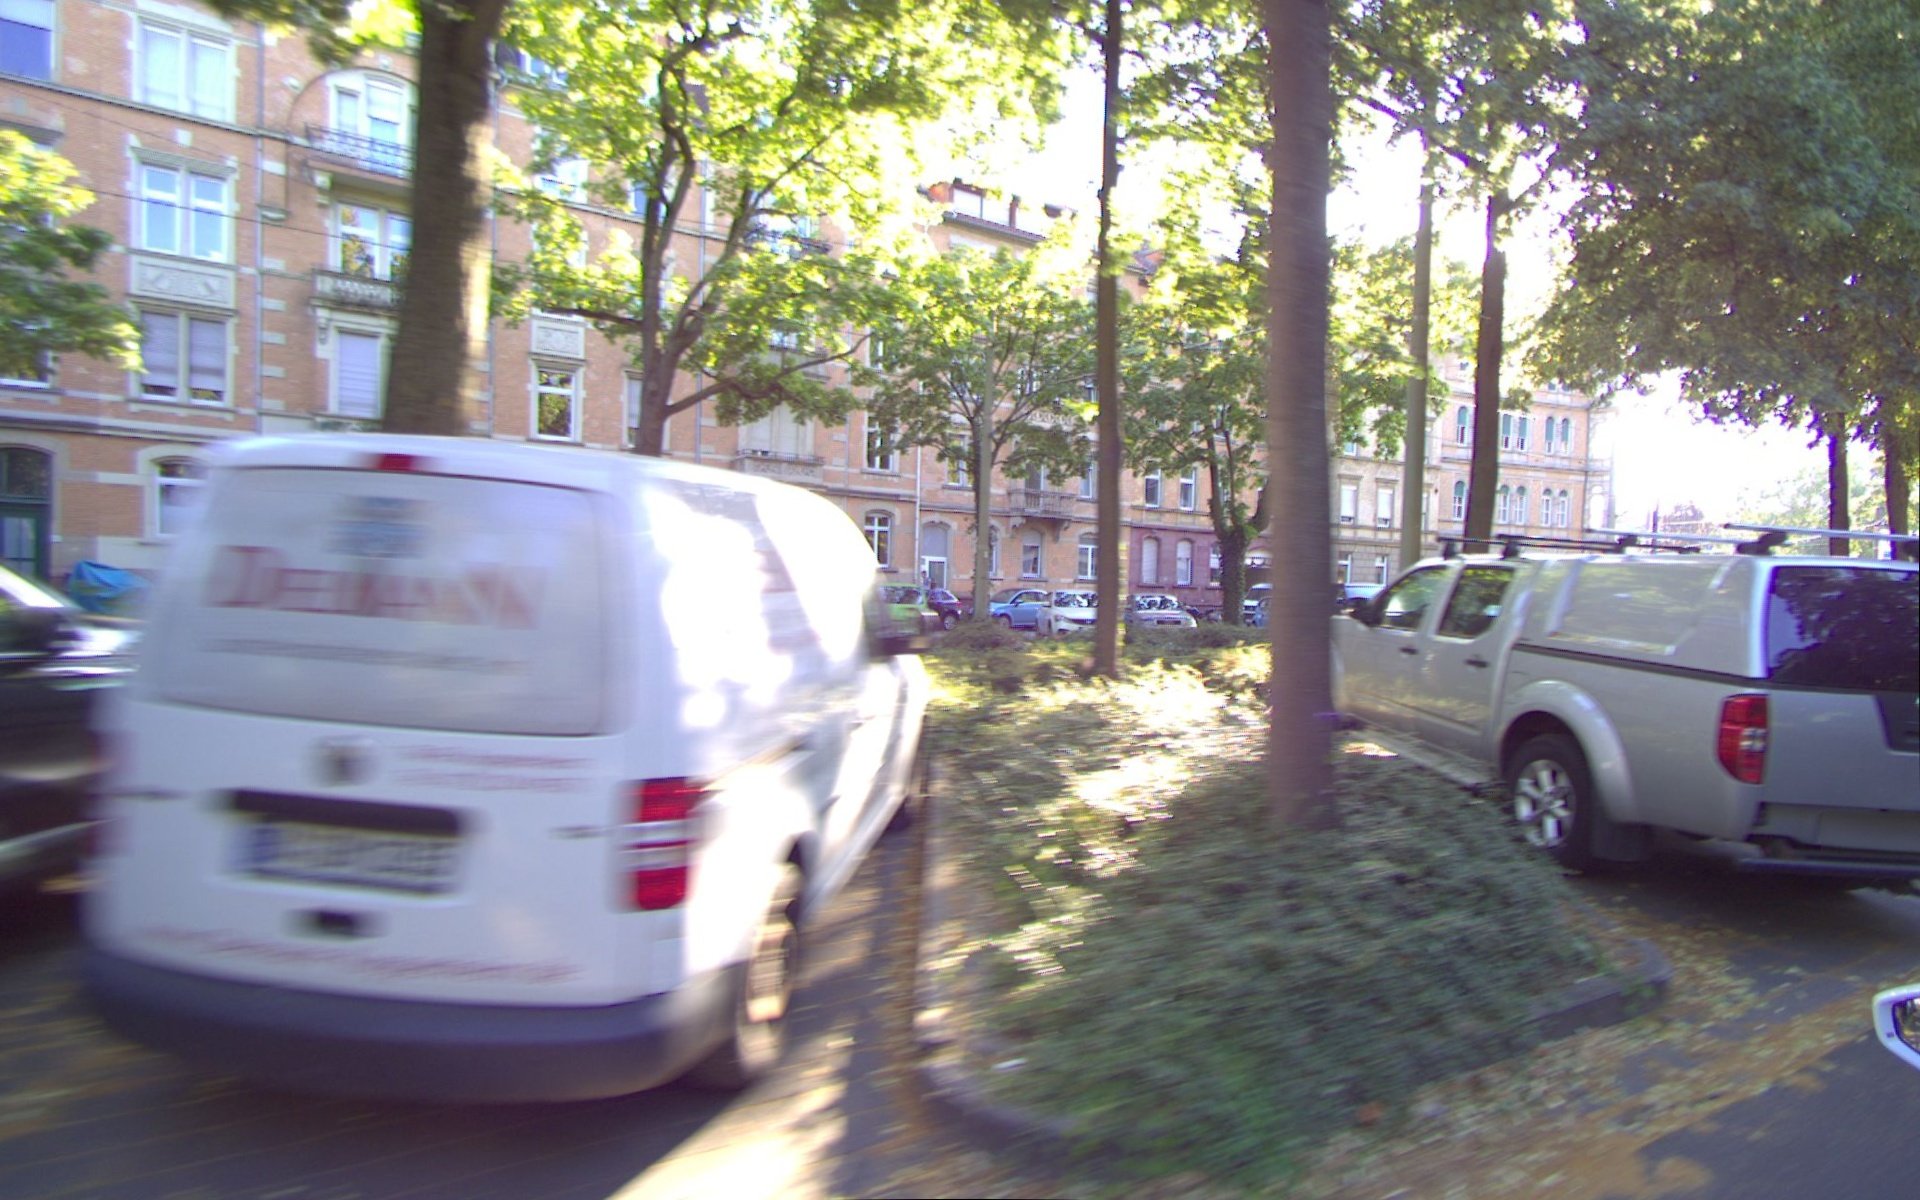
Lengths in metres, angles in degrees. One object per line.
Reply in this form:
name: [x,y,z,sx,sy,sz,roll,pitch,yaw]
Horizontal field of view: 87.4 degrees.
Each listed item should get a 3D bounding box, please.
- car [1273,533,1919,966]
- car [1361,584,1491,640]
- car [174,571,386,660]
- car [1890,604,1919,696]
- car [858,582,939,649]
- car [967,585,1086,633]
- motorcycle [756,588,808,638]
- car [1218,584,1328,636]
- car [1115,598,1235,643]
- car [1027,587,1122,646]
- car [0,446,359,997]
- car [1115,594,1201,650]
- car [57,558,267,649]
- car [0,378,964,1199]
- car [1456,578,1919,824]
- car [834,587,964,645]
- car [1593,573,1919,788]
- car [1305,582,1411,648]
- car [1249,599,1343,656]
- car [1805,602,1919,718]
car: [4.035,0.526,6.767,1.949,1.805,4.998,3,3,-3]
car: [16.158,0.359,35.164,2.045,1.788,4.833,1,1,-4]
car: [-11.488,0.213,17.309,1.566,1.335,3.991,1,1,-11]
car: [16.494,0.968,14.564,1.798,1.458,4.195,3,3,-6]
car: [-1.364,0.315,23.590,1.674,1.399,3.738,1,1,-1]
car: [2.430,0.315,36.424,4.017,1.539,1.839,0,4,-34]
motorcycle: [-3.706,0.250,20.816,1.002,0.968,1.723,1,1,-11]
car: [13.767,0.401,44.024,4.947,2.091,1.840,0,4,-34]
car: [8.529,0.768,39.670,4.721,1.562,1.839,0,4,-34]
car: [2.961,0.390,26.644,1.695,1.399,3.734,1,1,-6]
car: [-3.824,0.343,2.629,1.877,1.666,4.160,3,3,2]
car: [5.533,0.568,28.554,1.563,1.399,4.289,1,1,0]
car: [-17.604,0.054,22.389,3.471,1.807,1.839,0,4,-34]
car: [-1.159,0.366,4.194,1.846,1.805,4.161,4,3,6]
car: [6.441,0.674,8.947,1.737,1.479,4.157,3,3,-3]
car: [-2.009,0.524,33.496,3.959,1.799,1.782,1,1,-34]
car: [8.861,0.679,10.163,1.904,1.648,4.355,3,3,-3]
car: [13.338,0.459,33.941,1.960,2.040,4.000,1,1,0]
car: [10.618,0.825,31.991,1.628,1.662,3.650,1,1,-2]
car: [13.933,0.927,13.368,1.798,1.458,3.867,3,3,-6]
